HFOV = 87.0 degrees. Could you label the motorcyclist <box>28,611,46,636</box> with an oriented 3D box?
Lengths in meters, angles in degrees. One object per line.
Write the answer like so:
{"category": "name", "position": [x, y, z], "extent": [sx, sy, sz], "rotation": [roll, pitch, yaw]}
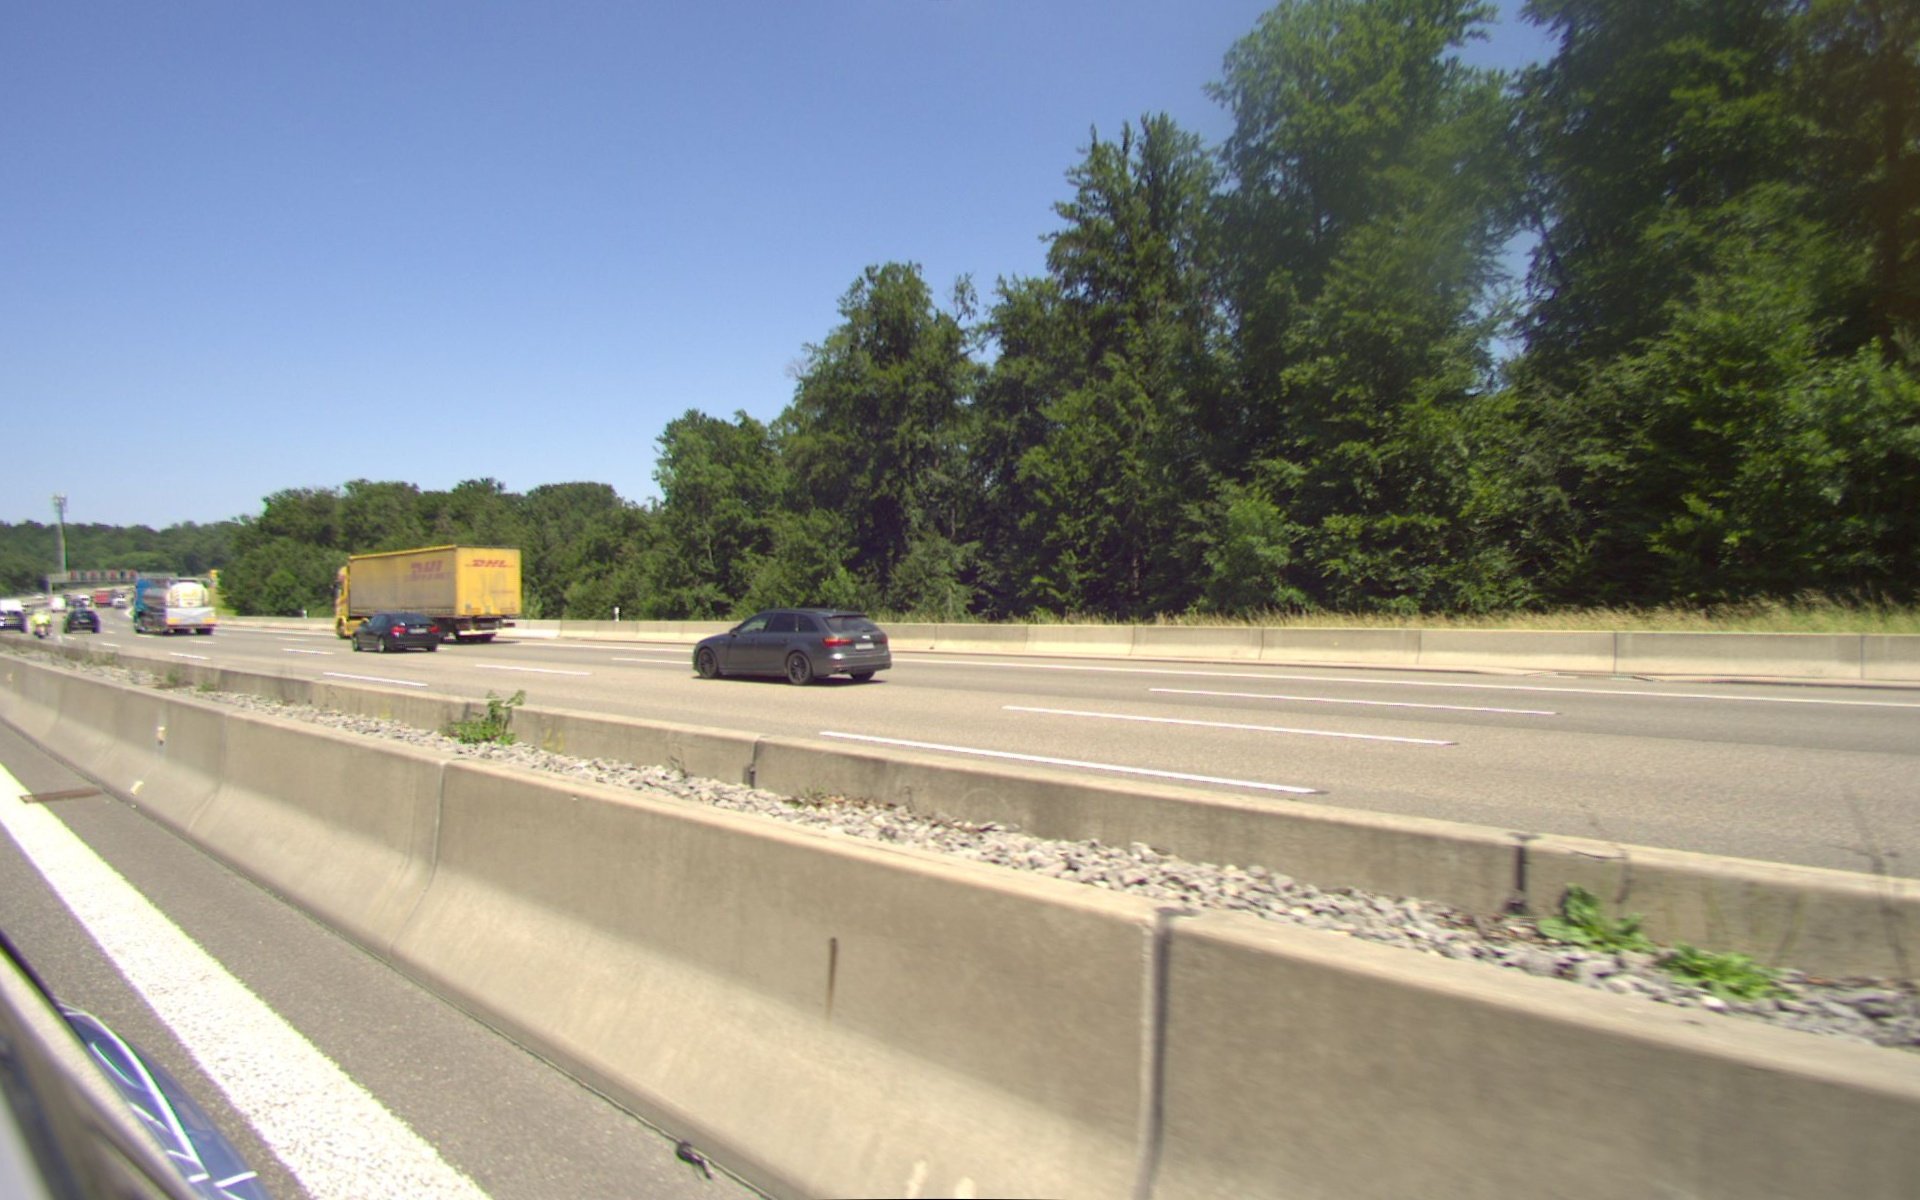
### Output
{"category": "motorcyclist", "position": [-52.095, 1.326, 57.118], "extent": [0.905, 1.371, 0.720], "rotation": [-1, -1, 43]}

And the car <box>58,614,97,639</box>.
{"category": "car", "position": [-62.032, 1.849, 71.112], "extent": [4.060, 1.656, 1.701], "rotation": [-1, -1, 44]}

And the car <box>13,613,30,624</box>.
{"category": "car", "position": [-154.749, 3.061, 166.907], "extent": [4.590, 1.885, 1.798], "rotation": [-1, -1, 44]}

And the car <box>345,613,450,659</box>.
{"category": "car", "position": [-19.784, 1.224, 35.516], "extent": [4.581, 1.494, 1.971], "rotation": [-1, -1, 44]}

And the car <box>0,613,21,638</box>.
{"category": "car", "position": [-69.176, 1.818, 72.941], "extent": [4.955, 1.718, 1.971], "rotation": [-1, -1, 44]}

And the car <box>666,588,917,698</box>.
{"category": "car", "position": [-3.455, 0.720, 20.033], "extent": [5.248, 1.885, 1.973], "rotation": [0, 2, 40]}

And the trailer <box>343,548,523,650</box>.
{"category": "trailer", "position": [-24.105, 0.028, 45.682], "extent": [13.723, 4.035, 2.693], "rotation": [-1, -1, 43]}

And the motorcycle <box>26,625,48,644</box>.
{"category": "motorcycle", "position": [-52.103, 1.926, 57.134], "extent": [2.527, 1.021, 0.719], "rotation": [-1, -1, 43]}

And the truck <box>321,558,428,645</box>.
{"category": "truck", "position": [-29.213, 0.108, 50.383], "extent": [6.751, 4.048, 2.721], "rotation": [-1, -1, 42]}

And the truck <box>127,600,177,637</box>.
{"category": "truck", "position": [-80.178, 1.789, 100.396], "extent": [9.885, 3.492, 2.581], "rotation": [0, 1, 44]}

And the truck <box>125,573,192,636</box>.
{"category": "truck", "position": [-53.503, 0.266, 67.487], "extent": [6.803, 3.969, 2.503], "rotation": [0, 1, 44]}

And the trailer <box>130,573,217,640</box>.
{"category": "trailer", "position": [-50.045, 0.319, 64.202], "extent": [11.696, 3.909, 2.510], "rotation": [0, 1, 43]}

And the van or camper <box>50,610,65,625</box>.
{"category": "van or camper", "position": [-166.336, 3.199, 186.585], "extent": [1.970, 2.821, 7.422], "rotation": [0, -1, -43]}

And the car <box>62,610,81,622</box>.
{"category": "car", "position": [-124.342, 2.235, 141.592], "extent": [1.743, 1.493, 4.497], "rotation": [-2, 1, -45]}

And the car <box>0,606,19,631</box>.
{"category": "car", "position": [-107.063, 2.068, 113.182], "extent": [6.307, 2.709, 2.075], "rotation": [-2, 0, 43]}
